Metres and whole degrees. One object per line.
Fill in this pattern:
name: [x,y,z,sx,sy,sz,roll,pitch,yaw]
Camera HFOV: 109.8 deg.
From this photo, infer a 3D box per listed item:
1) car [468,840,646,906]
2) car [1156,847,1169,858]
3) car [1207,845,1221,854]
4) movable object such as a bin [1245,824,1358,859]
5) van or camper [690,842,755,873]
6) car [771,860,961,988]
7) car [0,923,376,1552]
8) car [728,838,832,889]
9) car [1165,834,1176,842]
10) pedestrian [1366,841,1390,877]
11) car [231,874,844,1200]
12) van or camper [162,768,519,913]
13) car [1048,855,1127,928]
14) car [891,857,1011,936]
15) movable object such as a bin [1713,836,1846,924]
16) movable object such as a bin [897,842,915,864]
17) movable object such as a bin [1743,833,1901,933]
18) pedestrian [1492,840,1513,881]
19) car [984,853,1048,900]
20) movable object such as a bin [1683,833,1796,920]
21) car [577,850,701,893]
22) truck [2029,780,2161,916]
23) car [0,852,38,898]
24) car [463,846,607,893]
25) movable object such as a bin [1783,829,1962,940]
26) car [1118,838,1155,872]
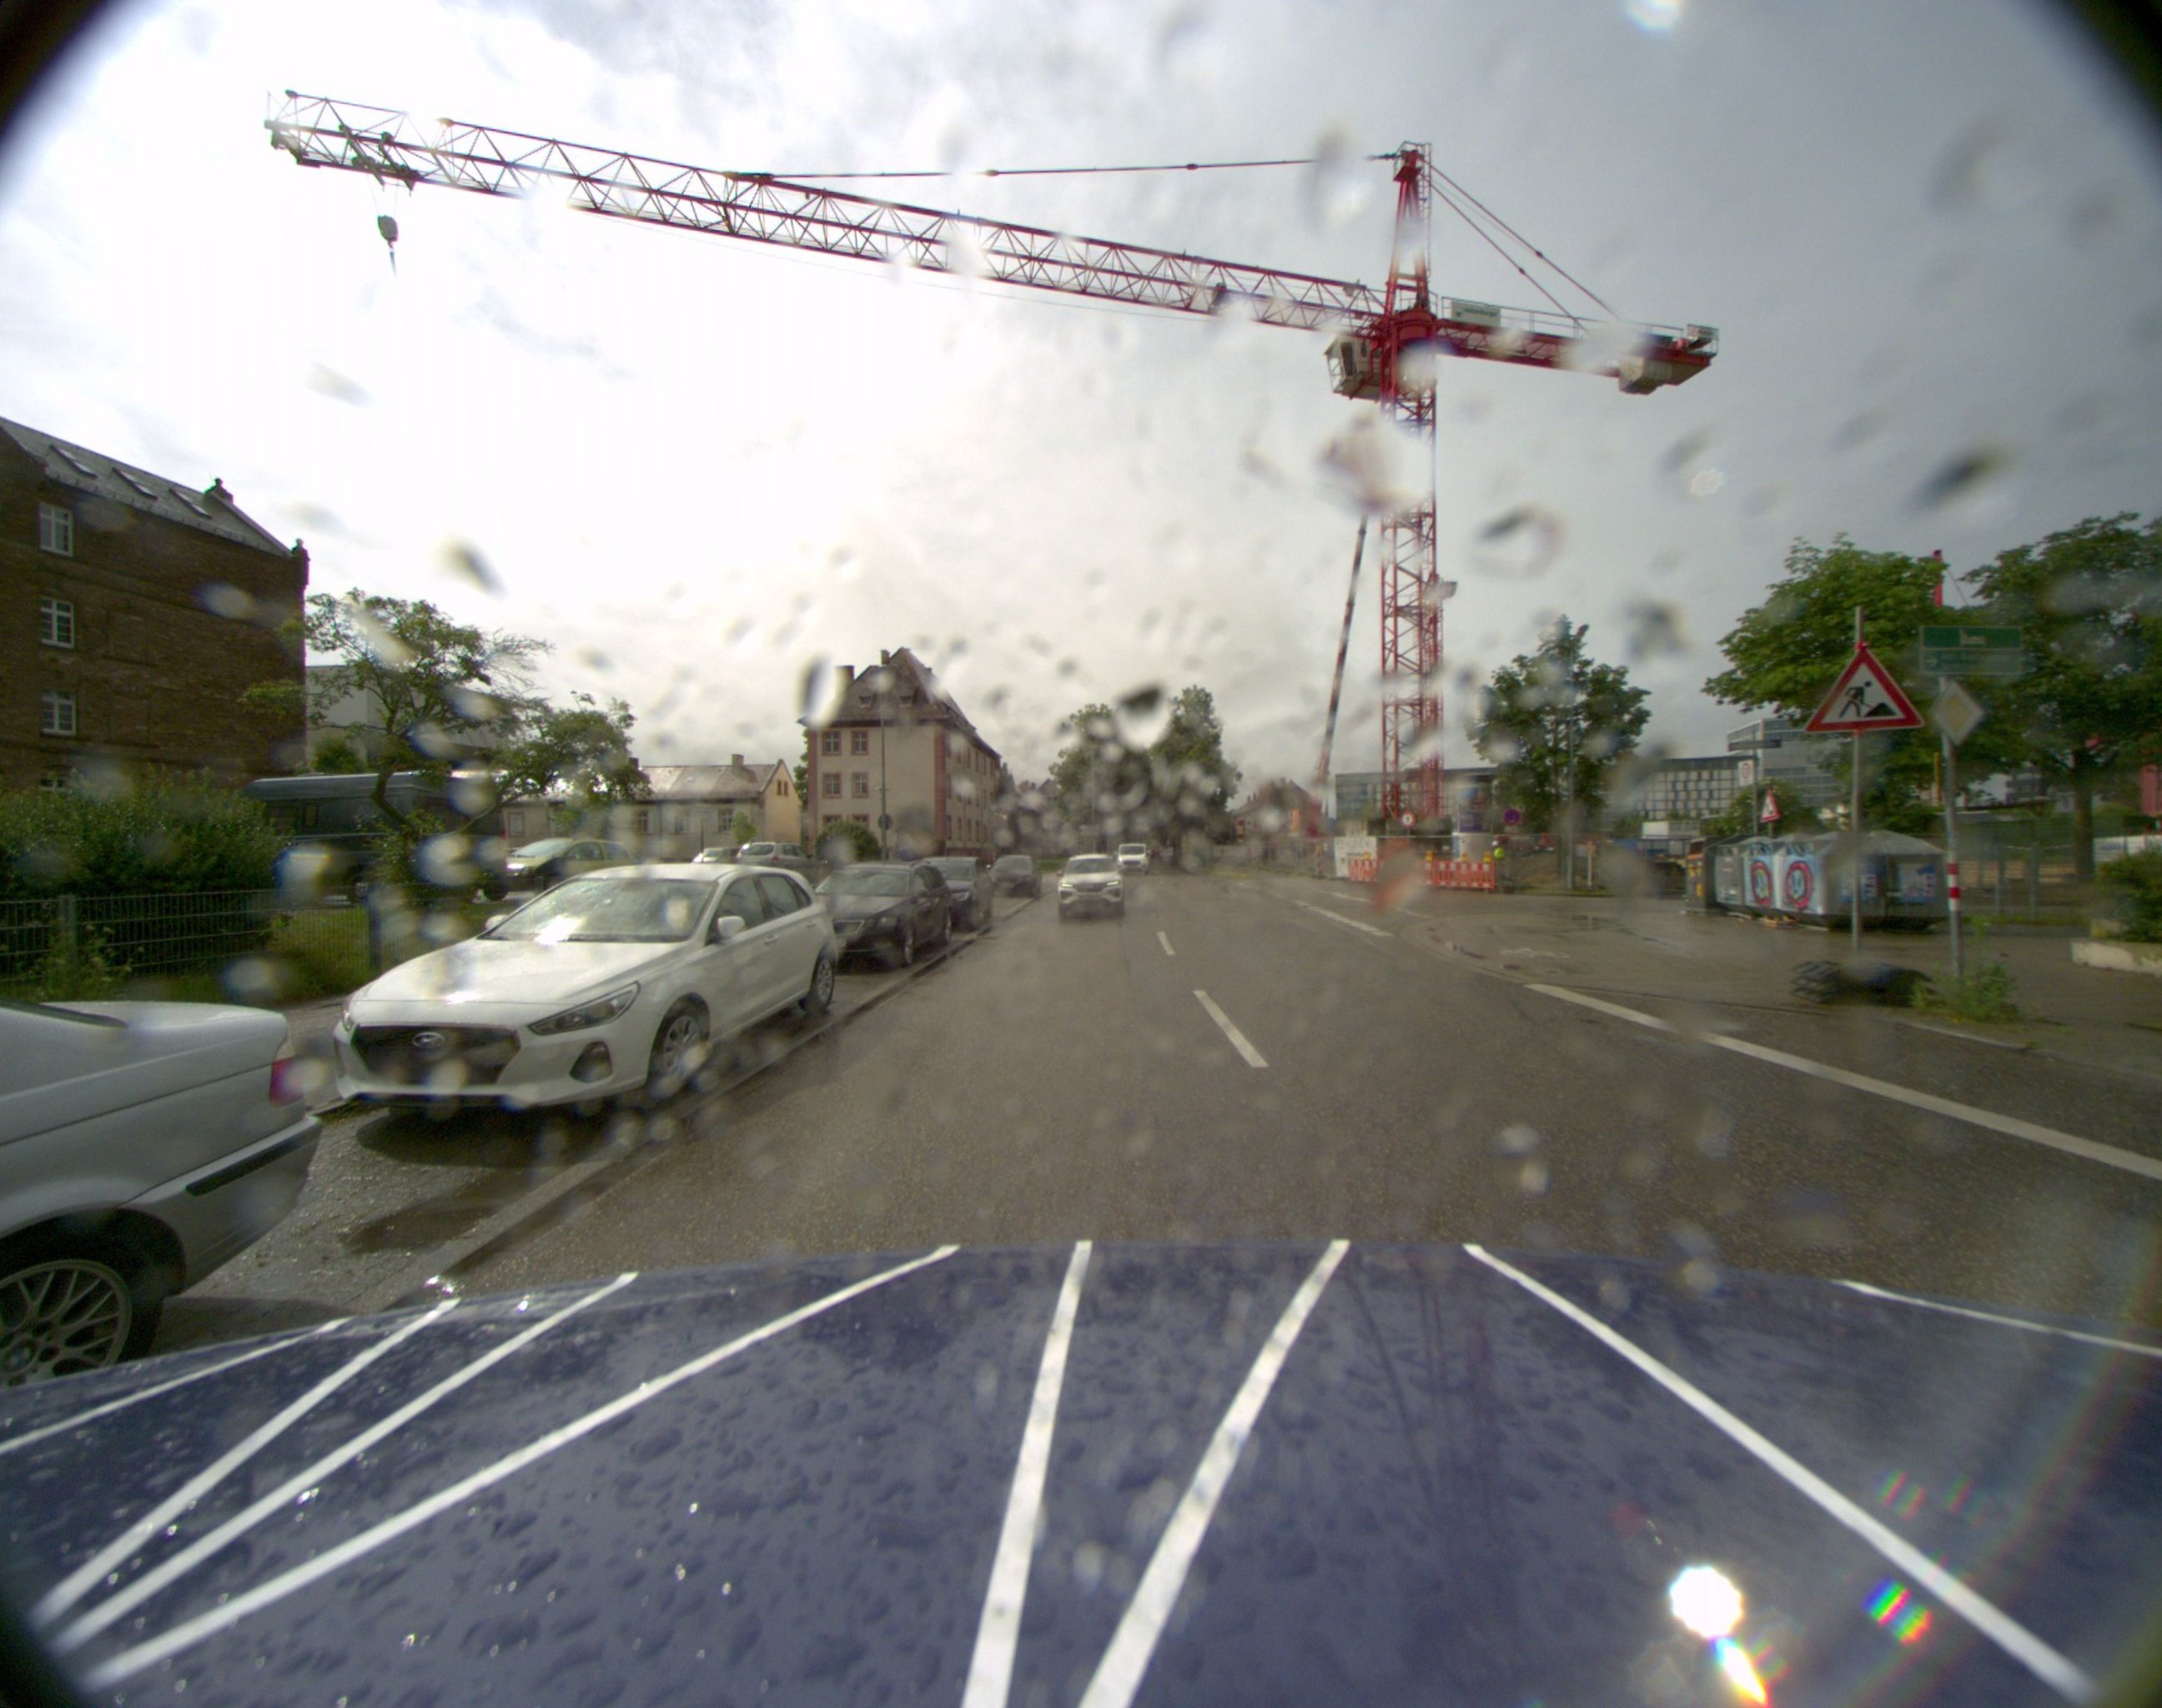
car: [-12.390,0.392,18.232,1.613,1.440,3.418,0,1,7]
car: [12.095,-0.200,112.905,1.844,1.598,4.001,-2,0,6]
car: [23.466,-0.808,134.087,1.693,1.521,3.999,-2,1,2]
movable object such as a bin: [32.958,-1.905,114.267,15.937,4.532,3.102,-2,2,7]
van or camper: [-26.017,0.223,55.402,1.793,2.104,5.188,-2,0,6]
car: [-3.107,0.917,11.871,1.608,1.499,4.160,2,1,2]
car: [-3.529,1.027,0.706,1.720,1.444,4.258,-2,1,0]
car: [-11.113,0.312,28.366,1.807,1.740,4.240,0,1,7]
car: [16.740,-2.994,142.066,1.817,1.531,3.983,1,0,6]
pedestrian: [13.713,0.235,35.055,0.725,1.620,0.682,-4,2,-33]
car: [-3.395,0.988,5.912,1.753,1.499,4.111,-1,0,1]
van or camper: [-14.223,-0.238,14.808,5.008,2.540,2.175,-1,2,6]
car: [0.263,0.826,18.685,1.608,1.499,4.001,-2,1,4]
car: [-2.808,0.863,17.317,1.760,1.519,4.001,0,1,4]
movable object such as a bin: [13.903,0.485,15.214,1.539,1.646,1.530,0,0,23]
movable object such as a bin: [-11.425,-0.066,49.557,0.801,1.449,1.097,1,1,6]
movable object such as a bin: [13.244,0.482,13.698,1.539,1.664,1.668,0,0,23]
pedestrian: [16.409,0.244,29.613,0.619,1.610,0.550,1,1,20]
car: [-2.367,0.776,28.646,1.778,1.531,4.378,2,1,3]
movable object such as a bin: [14.325,0.465,16.602,1.539,1.813,1.265,0,0,23]
car: [-17.249,0.631,29.957,1.832,1.518,4.426,0,1,9]
truck: [30.554,-0.127,17.820,9.821,3.166,3.797,0,1,20]
car: [-37.057,0.761,24.921,3.674,1.478,1.673,-3,0,6]
car: [-20.886,0.523,29.326,1.856,1.669,4.426,0,1,10]
movable object such as a bin: [12.619,0.456,12.225,1.539,1.652,1.461,0,0,23]
car: [3.567,0.077,49.741,2.107,1.990,5.435,-2,0,2]
